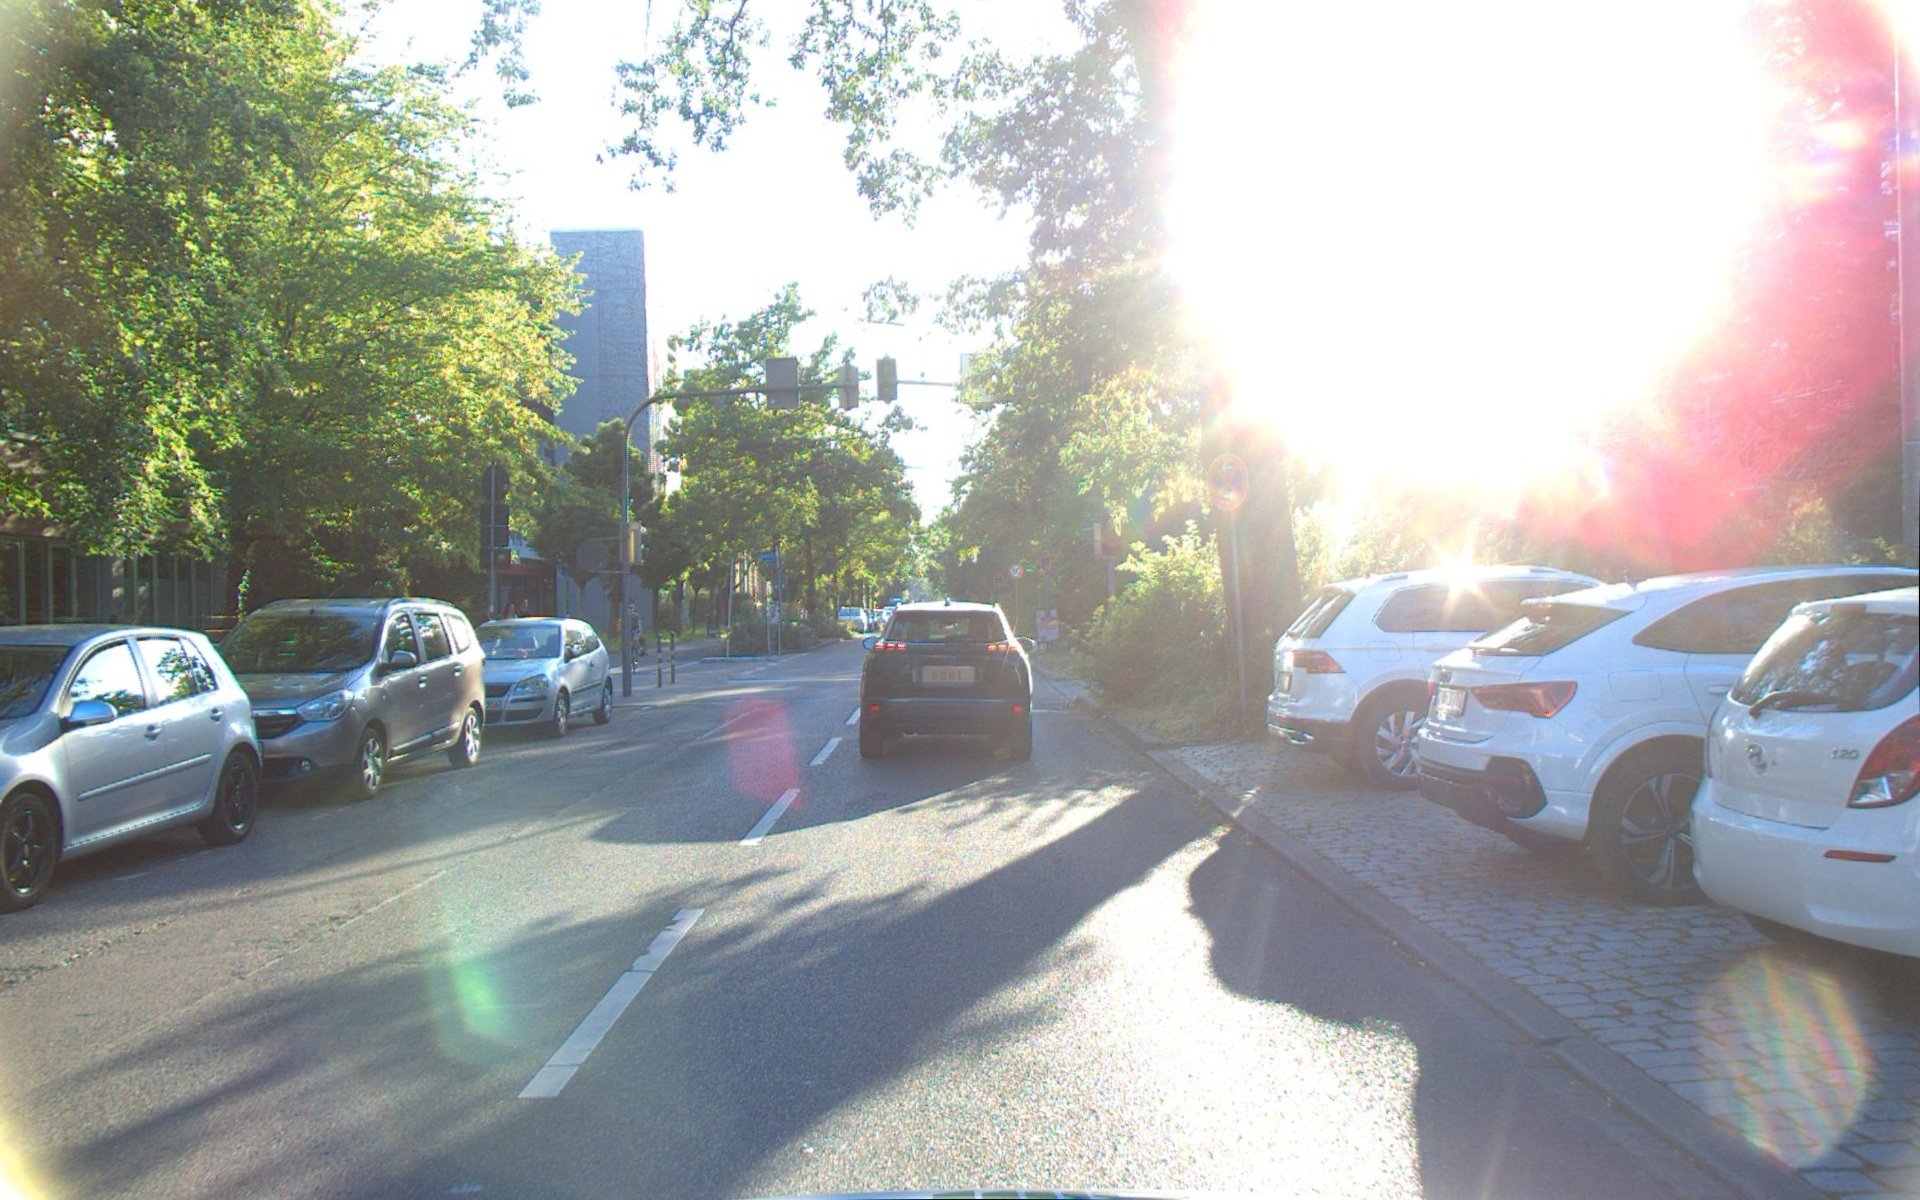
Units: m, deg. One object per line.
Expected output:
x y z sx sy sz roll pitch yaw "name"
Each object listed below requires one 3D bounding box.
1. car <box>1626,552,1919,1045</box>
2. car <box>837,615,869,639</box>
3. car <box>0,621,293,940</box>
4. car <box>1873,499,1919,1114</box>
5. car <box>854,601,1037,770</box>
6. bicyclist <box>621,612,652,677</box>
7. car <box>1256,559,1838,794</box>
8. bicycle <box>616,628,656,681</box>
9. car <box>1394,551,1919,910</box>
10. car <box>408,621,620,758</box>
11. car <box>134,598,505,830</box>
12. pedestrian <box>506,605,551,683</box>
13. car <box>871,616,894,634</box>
4.692 0.593 6.327 3.516 1.594 1.818 -2 0 -2 "car"
-6.394 1.585 98.433 1.775 1.378 3.995 -2 0 -5 "car"
-5.585 0.954 9.708 1.637 1.520 4.061 -2 0 0 "car"
4.390 0.533 3.803 3.669 1.622 1.696 0 -1 -3 "car"
-0.163 0.818 17.503 1.732 1.596 3.379 -1 0 -1 "car"
-8.192 1.124 41.887 0.662 1.631 0.706 -1 -1 -3 "bicyclist"
4.580 0.591 13.428 4.083 1.740 1.868 -1 0 3 "car"
-8.194 1.365 41.861 0.672 1.271 2.191 -1 0 -3 "bicycle"
4.541 0.621 8.743 4.038 1.696 1.722 0 -1 -1 "car"
-5.672 1.082 21.500 1.645 1.482 3.881 -2 0 0 "car"
-5.635 0.894 15.180 1.645 1.738 4.340 -2 0 0 "car"
-10.666 1.078 40.870 0.940 1.855 0.817 -1 0 -21 "pedestrian"
-6.511 2.104 138.512 1.775 1.378 3.975 -2 0 -4 "car"
